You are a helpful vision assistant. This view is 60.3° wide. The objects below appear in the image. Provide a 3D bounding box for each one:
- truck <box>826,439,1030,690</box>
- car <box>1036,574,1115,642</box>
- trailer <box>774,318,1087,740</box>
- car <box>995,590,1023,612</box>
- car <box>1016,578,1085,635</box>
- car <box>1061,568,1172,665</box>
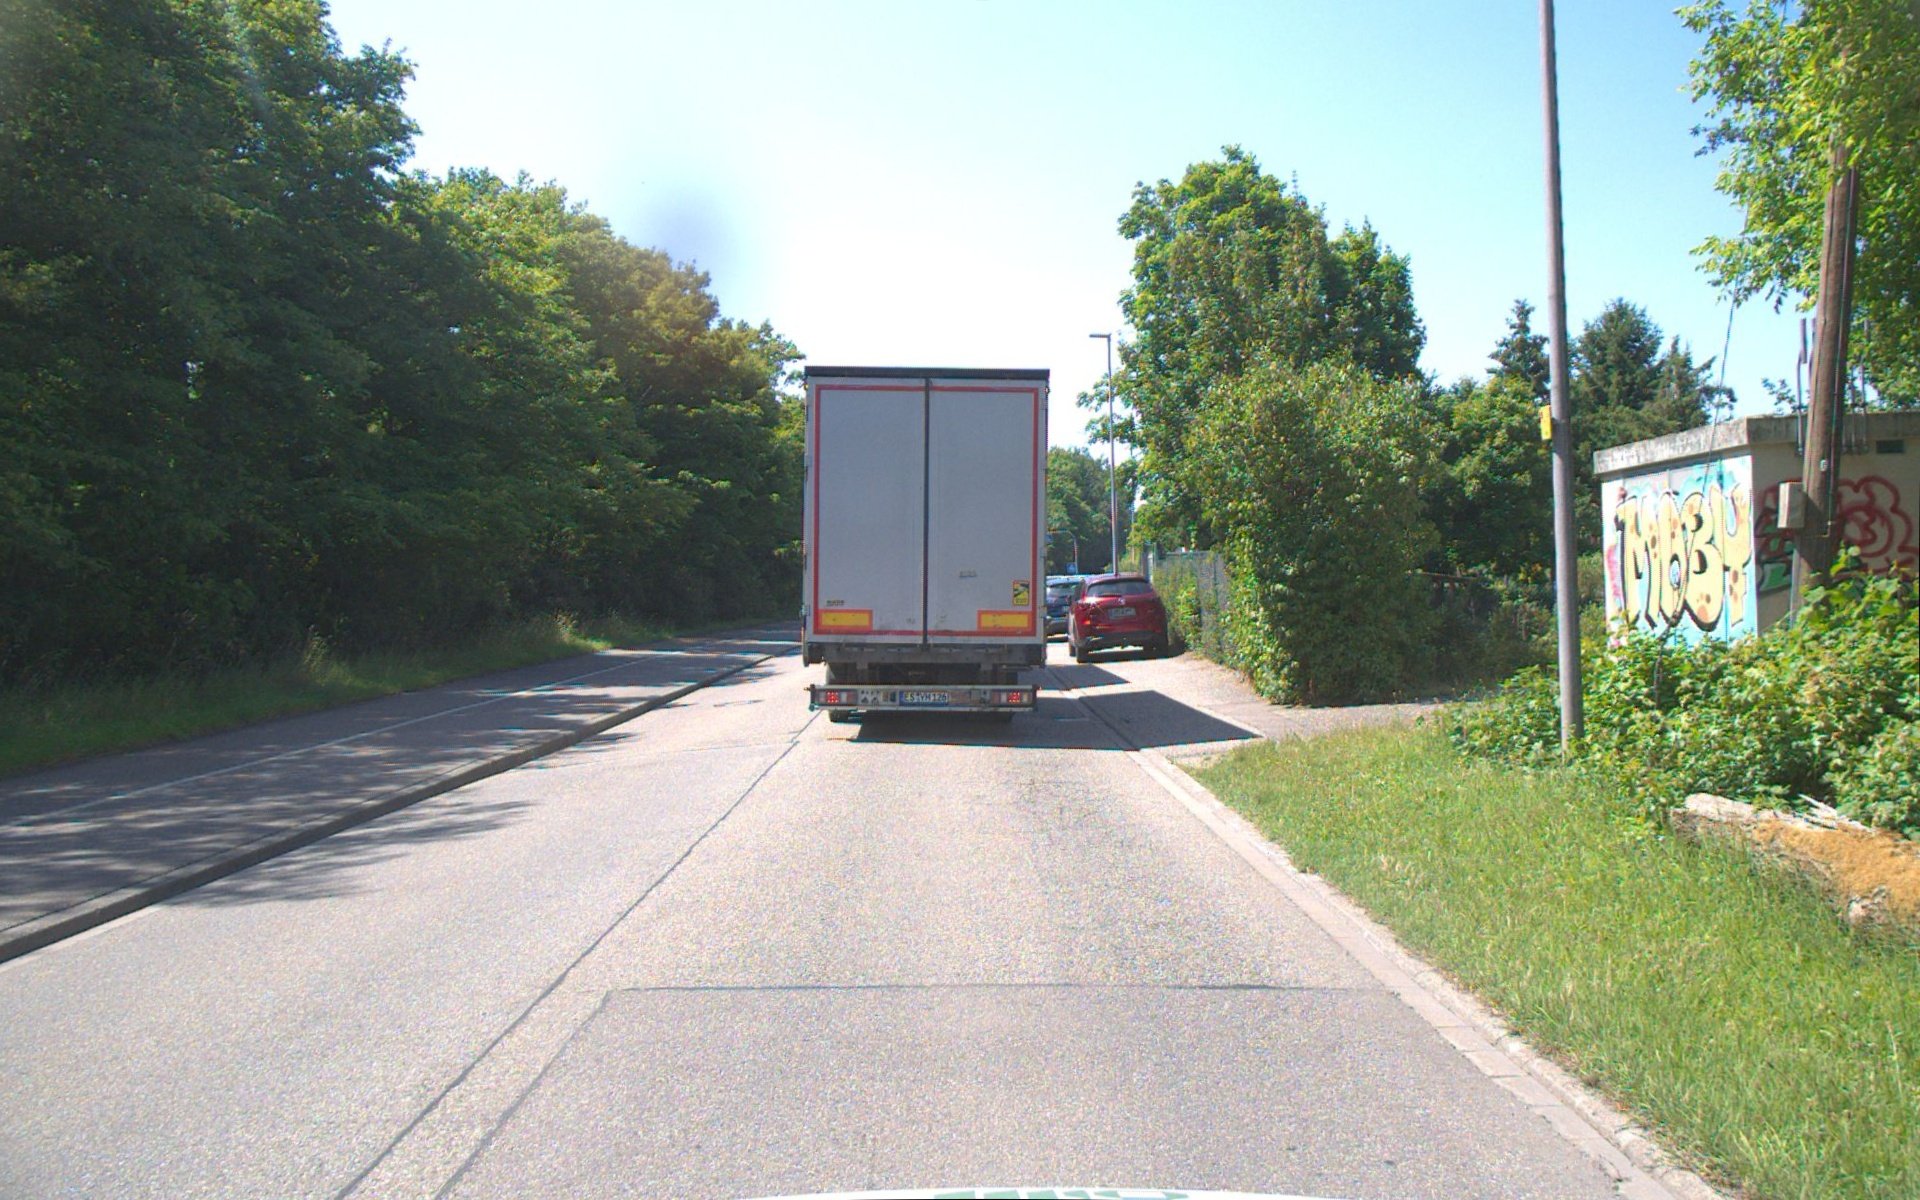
[{"bbox_3d":[-0.593,-0.576,28.654,3.051,3.790,6.411,-1,0,-2],"label":"truck"},{"bbox_3d":[3.018,0.167,43.857,1.753,1.631,4.130,-3,1,0],"label":"car"},{"bbox_3d":[-0.414,-0.767,22.412,3.050,4.174,11.534,-1,0,-1],"label":"trailer"},{"bbox_3d":[3.582,0.042,119.556,1.743,1.512,4.003,-1,1,5],"label":"car"},{"bbox_3d":[2.688,0.158,50.029,1.753,1.507,4.665,-5,1,1],"label":"car"},{"bbox_3d":[3.112,0.292,33.725,1.753,1.686,4.453,-5,1,1],"label":"car"}]
